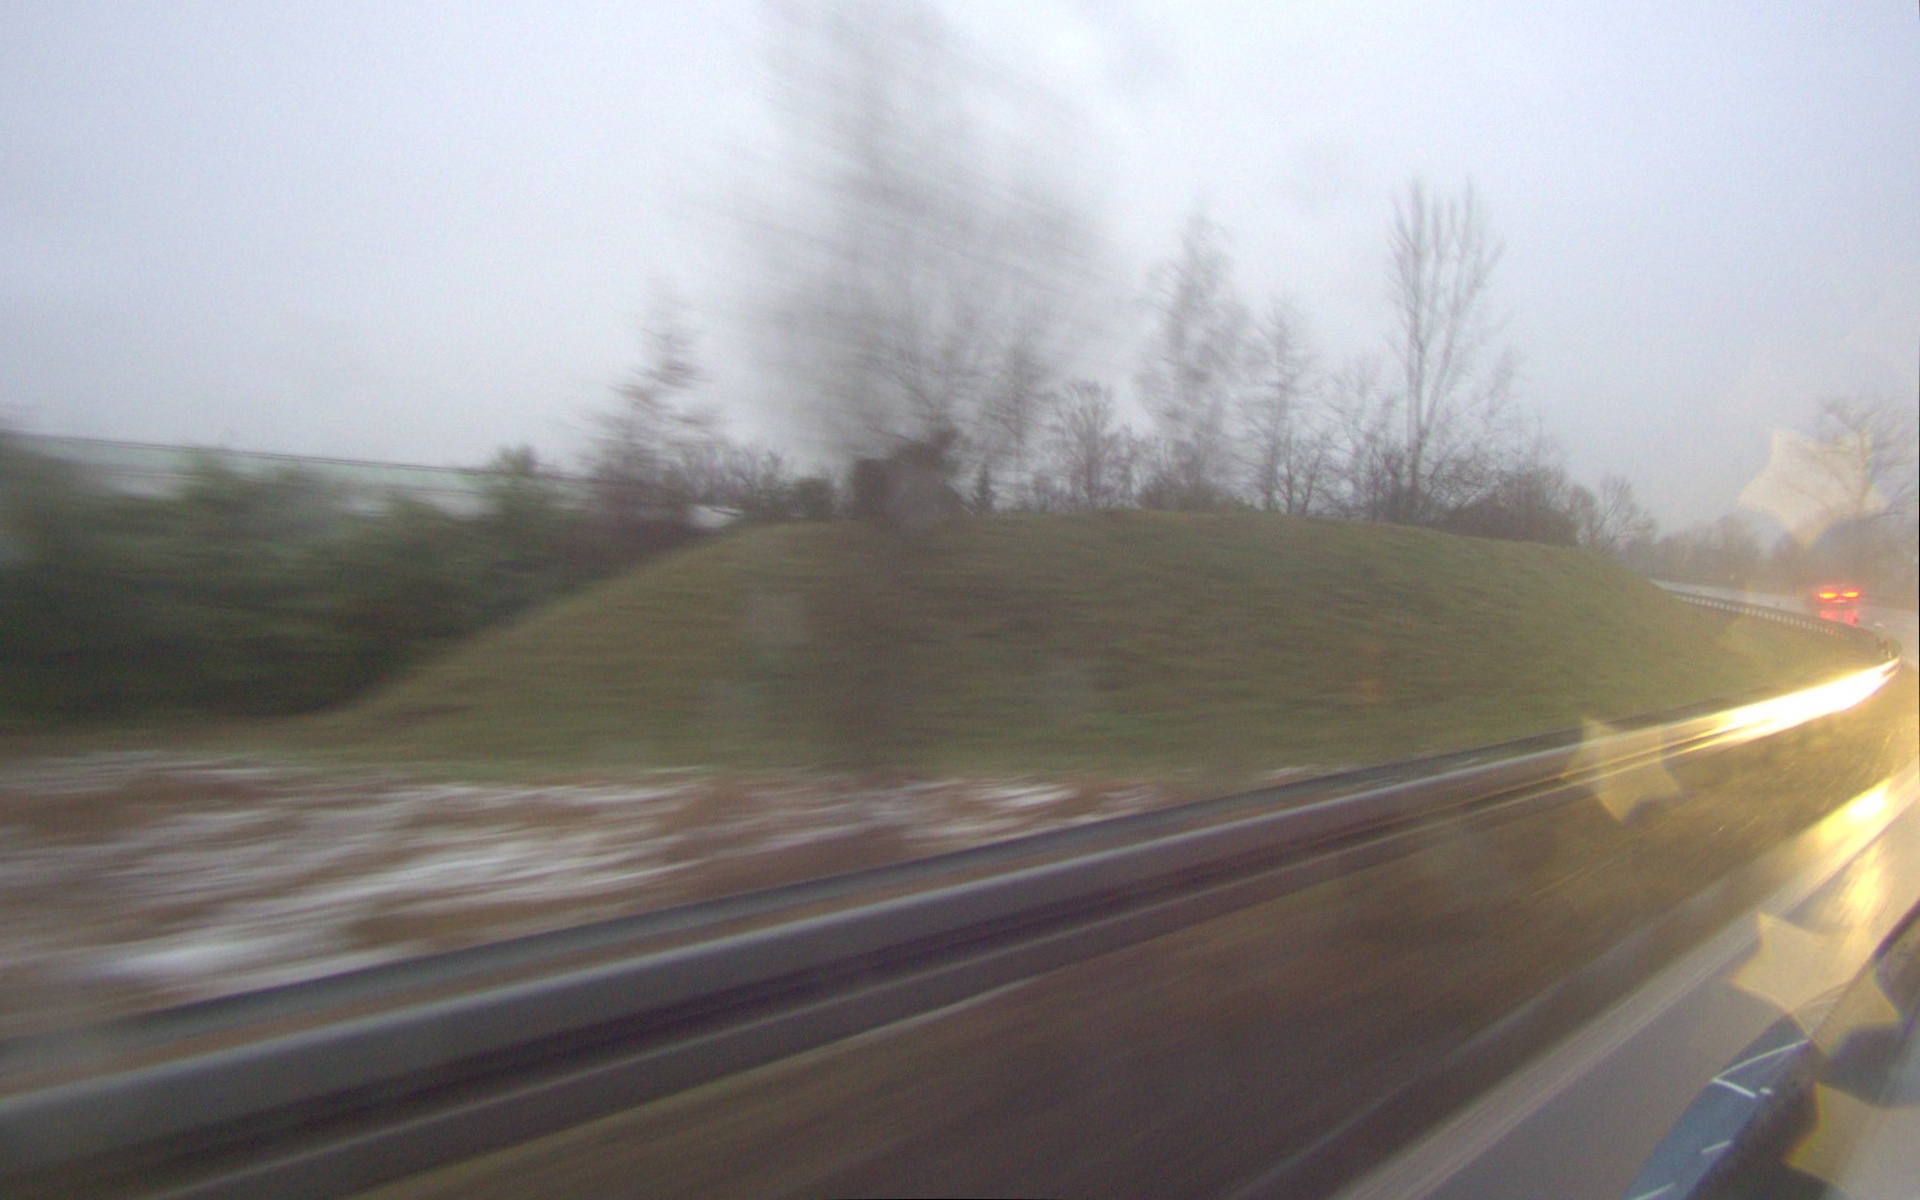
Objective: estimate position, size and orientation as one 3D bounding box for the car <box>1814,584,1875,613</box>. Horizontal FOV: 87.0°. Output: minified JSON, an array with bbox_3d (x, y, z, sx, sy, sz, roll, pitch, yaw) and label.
[{"bbox_3d":[56.780,-0.133,65.058,1.983,1.642,4.549,-5,-1,30],"label":"car"}]
